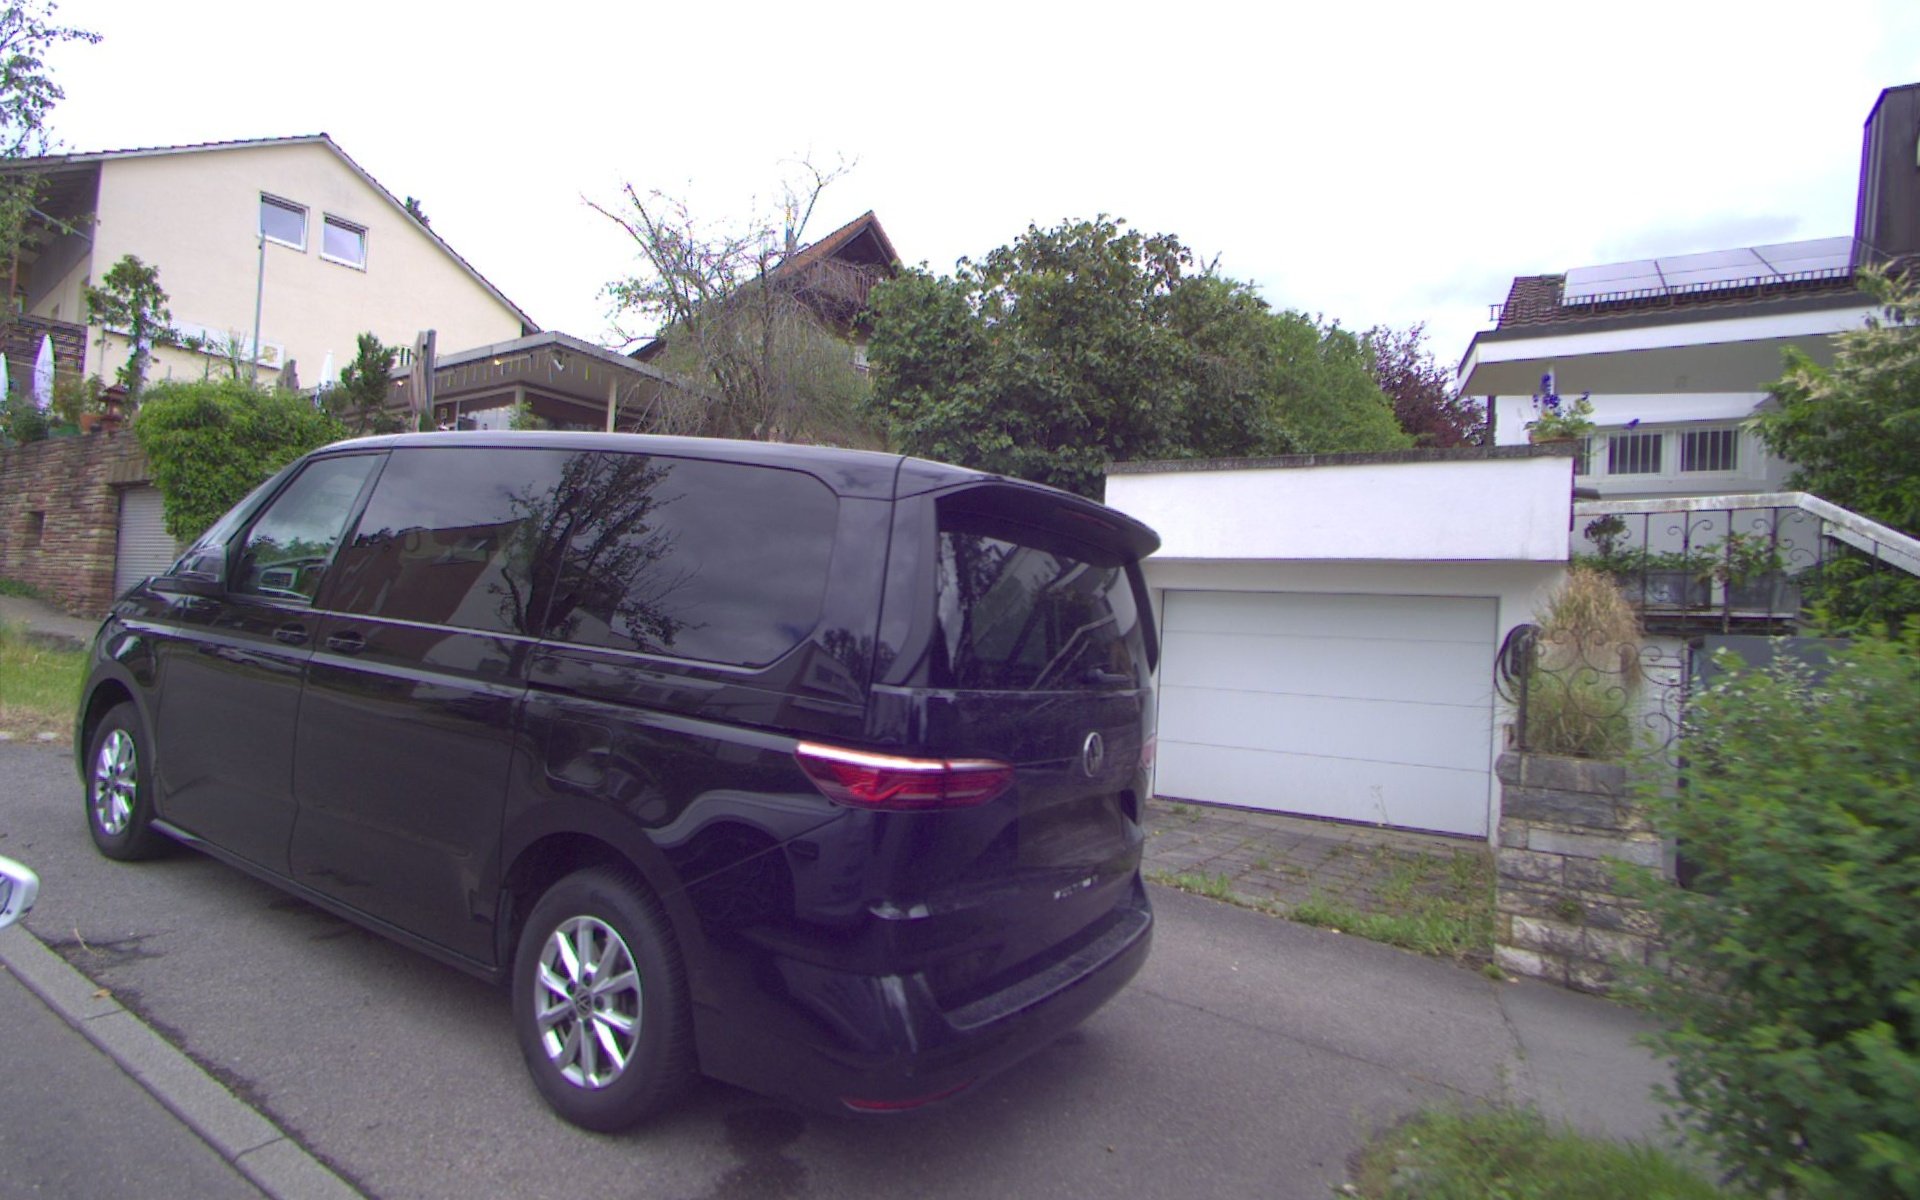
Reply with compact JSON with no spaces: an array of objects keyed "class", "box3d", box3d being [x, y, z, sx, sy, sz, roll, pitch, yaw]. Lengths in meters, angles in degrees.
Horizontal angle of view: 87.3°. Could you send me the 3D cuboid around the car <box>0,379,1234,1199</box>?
[{"class":"car","box3d":[-1.782,0.320,4.150,5.132,1.860,1.938,7,0,32]}]
